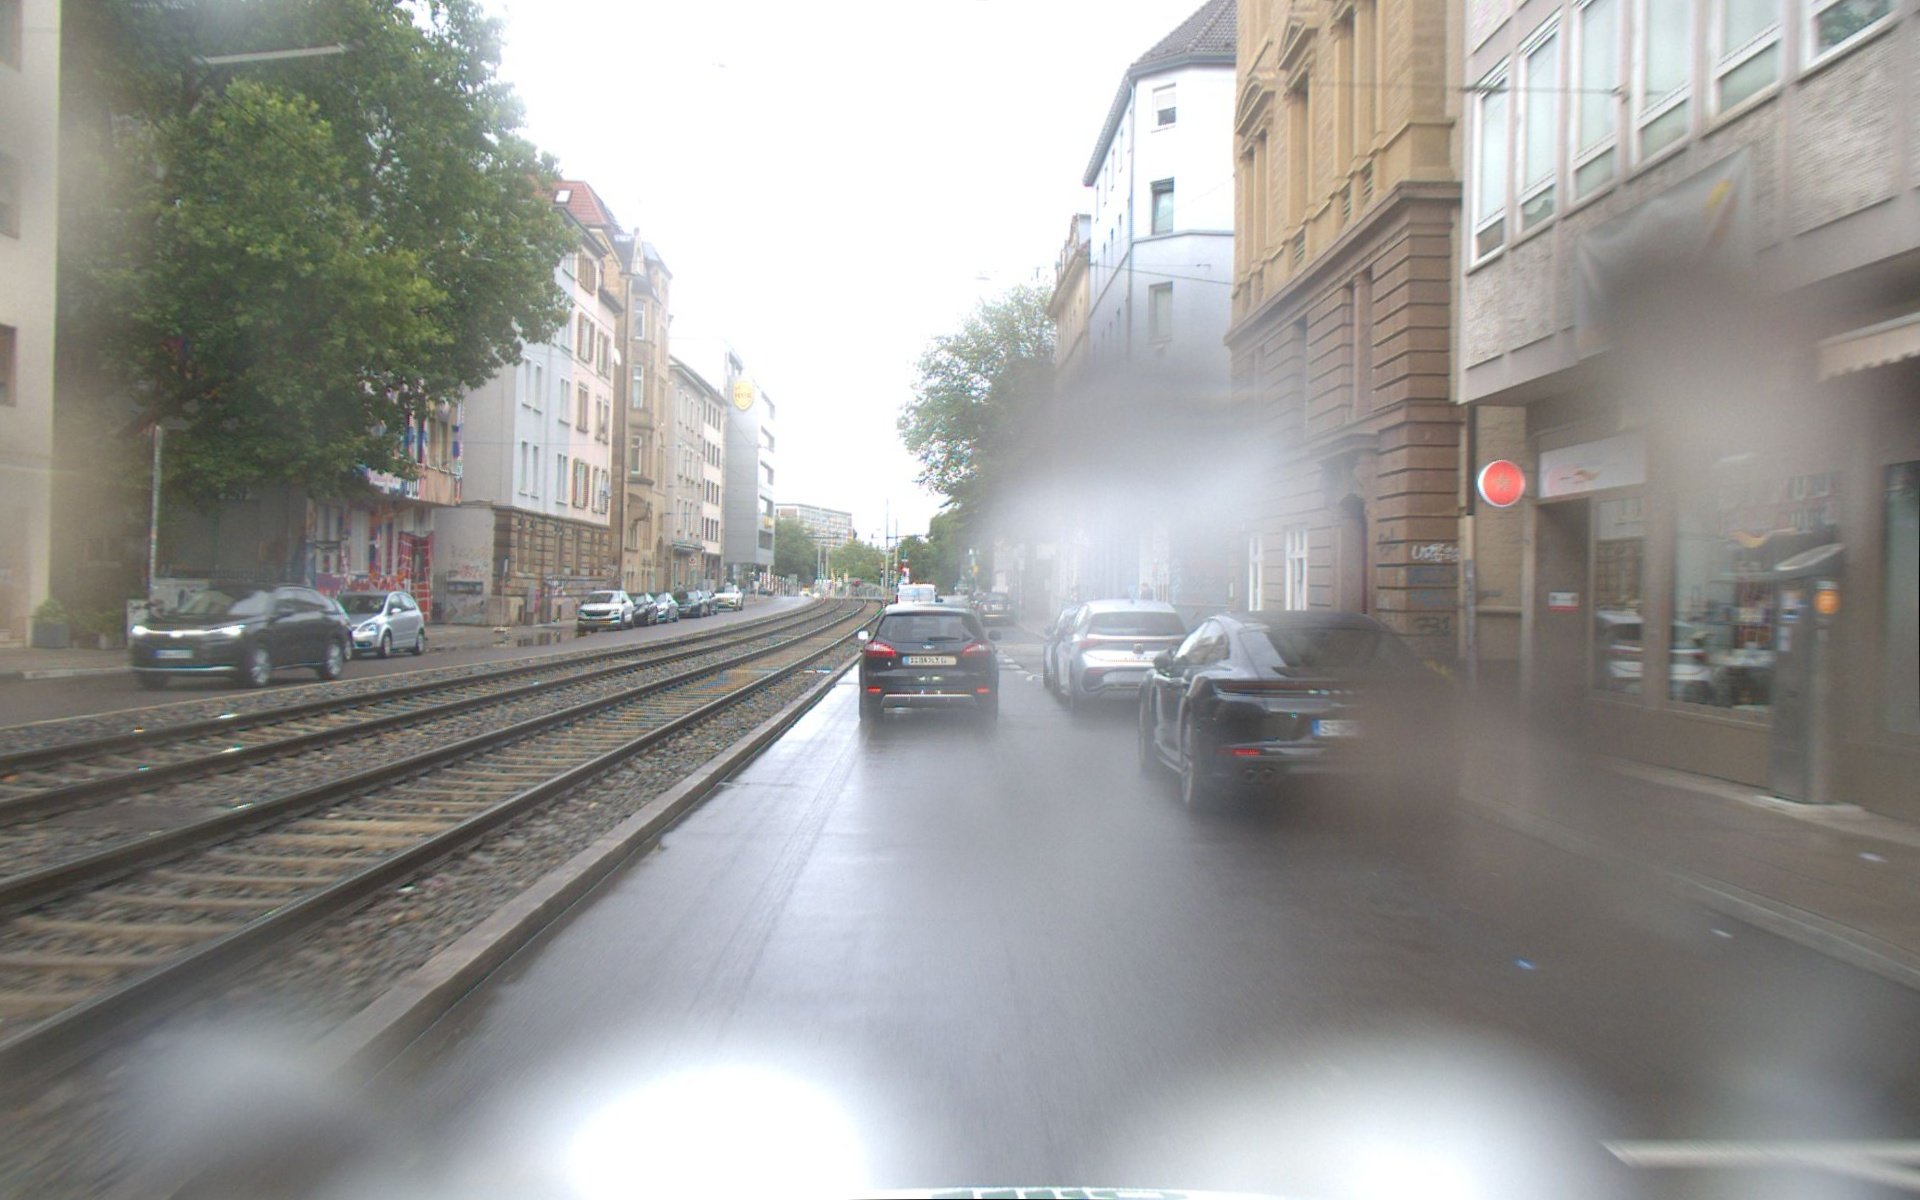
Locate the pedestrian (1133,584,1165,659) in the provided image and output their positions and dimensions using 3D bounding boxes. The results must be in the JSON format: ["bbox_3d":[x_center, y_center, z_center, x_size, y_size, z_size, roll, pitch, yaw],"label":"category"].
[{"bbox_3d":[5.251,0.595,46.023,0.721,2.049,0.821,1,0,-2],"label":"pedestrian"}]

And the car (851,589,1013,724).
[{"bbox_3d":[-0.359,0.732,22.228,1.953,1.622,4.270,0,-1,-1],"label":"car"}]

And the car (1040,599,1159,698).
[{"bbox_3d":[2.368,0.783,28.915,1.685,1.542,4.258,1,0,0],"label":"car"}]

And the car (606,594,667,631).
[{"bbox_3d":[-14.442,0.549,73.975,1.953,1.545,4.208,2,0,-1],"label":"car"}]

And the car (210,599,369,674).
[{"bbox_3d":[-14.005,0.735,34.802,1.708,1.494,4.218,0,0,-1],"label":"car"}]

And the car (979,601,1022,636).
[{"bbox_3d":[1.839,0.811,75.893,1.703,1.515,3.999,1,0,-2],"label":"car"}]

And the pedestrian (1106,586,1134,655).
[{"bbox_3d":[4.436,0.564,45.812,0.648,1.884,0.821,1,0,-2],"label":"pedestrian"}]

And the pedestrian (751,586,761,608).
[{"bbox_3d":[-17.408,-0.255,141.038,0.729,1.886,0.839,0,-2,-2],"label":"pedestrian"}]

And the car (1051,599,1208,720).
[{"bbox_3d":[2.361,0.782,24.077,1.711,1.550,4.354,1,0,-1],"label":"car"}]

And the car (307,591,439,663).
[{"bbox_3d":[-14.019,0.633,39.749,1.687,1.598,4.218,2,0,-1],"label":"car"}]

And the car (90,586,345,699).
[{"bbox_3d":[-11.290,0.615,25.529,1.953,1.545,4.443,2,0,-1],"label":"car"}]

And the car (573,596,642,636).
[{"bbox_3d":[-14.415,0.646,67.862,1.953,1.545,4.434,2,0,-1],"label":"car"}]

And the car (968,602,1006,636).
[{"bbox_3d":[1.287,0.919,80.410,1.609,1.542,4.037,1,0,-2],"label":"car"}]

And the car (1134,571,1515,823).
[{"bbox_3d":[2.613,0.676,13.037,1.953,1.622,4.570,0,-1,-1],"label":"car"}]

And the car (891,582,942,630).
[{"bbox_3d":[-1.728,0.276,67.098,1.953,1.848,4.270,0,-1,-1],"label":"car"}]

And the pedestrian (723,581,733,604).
[{"bbox_3d":[-18.895,-0.603,134.817,0.729,1.886,0.839,0,-2,-2],"label":"pedestrian"}]

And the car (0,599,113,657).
[{"bbox_3d":[-23.761,0.682,42.539,1.953,1.389,3.998,1,0,-2],"label":"car"}]

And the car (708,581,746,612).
[{"bbox_3d":[-15.038,-0.216,107.004,1.954,1.871,5.068,2,0,-3],"label":"car"}]

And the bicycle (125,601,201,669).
[{"bbox_3d":[-15.359,0.670,31.936,0.580,1.248,2.399,2,-1,-8],"label":"bicycle"}]

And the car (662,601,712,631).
[{"bbox_3d":[-14.710,0.868,89.381,1.953,1.545,4.674,2,0,-1],"label":"car"}]

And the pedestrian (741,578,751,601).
[{"bbox_3d":[-17.448,-0.848,134.932,0.729,1.886,0.839,0,-2,-2],"label":"pedestrian"}]

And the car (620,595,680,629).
[{"bbox_3d":[-14.710,0.569,78.745,1.953,1.545,4.990,2,0,-1],"label":"car"}]

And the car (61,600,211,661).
[{"bbox_3d":[-21.198,0.751,42.728,1.953,1.480,3.998,0,0,-2],"label":"car"}]
